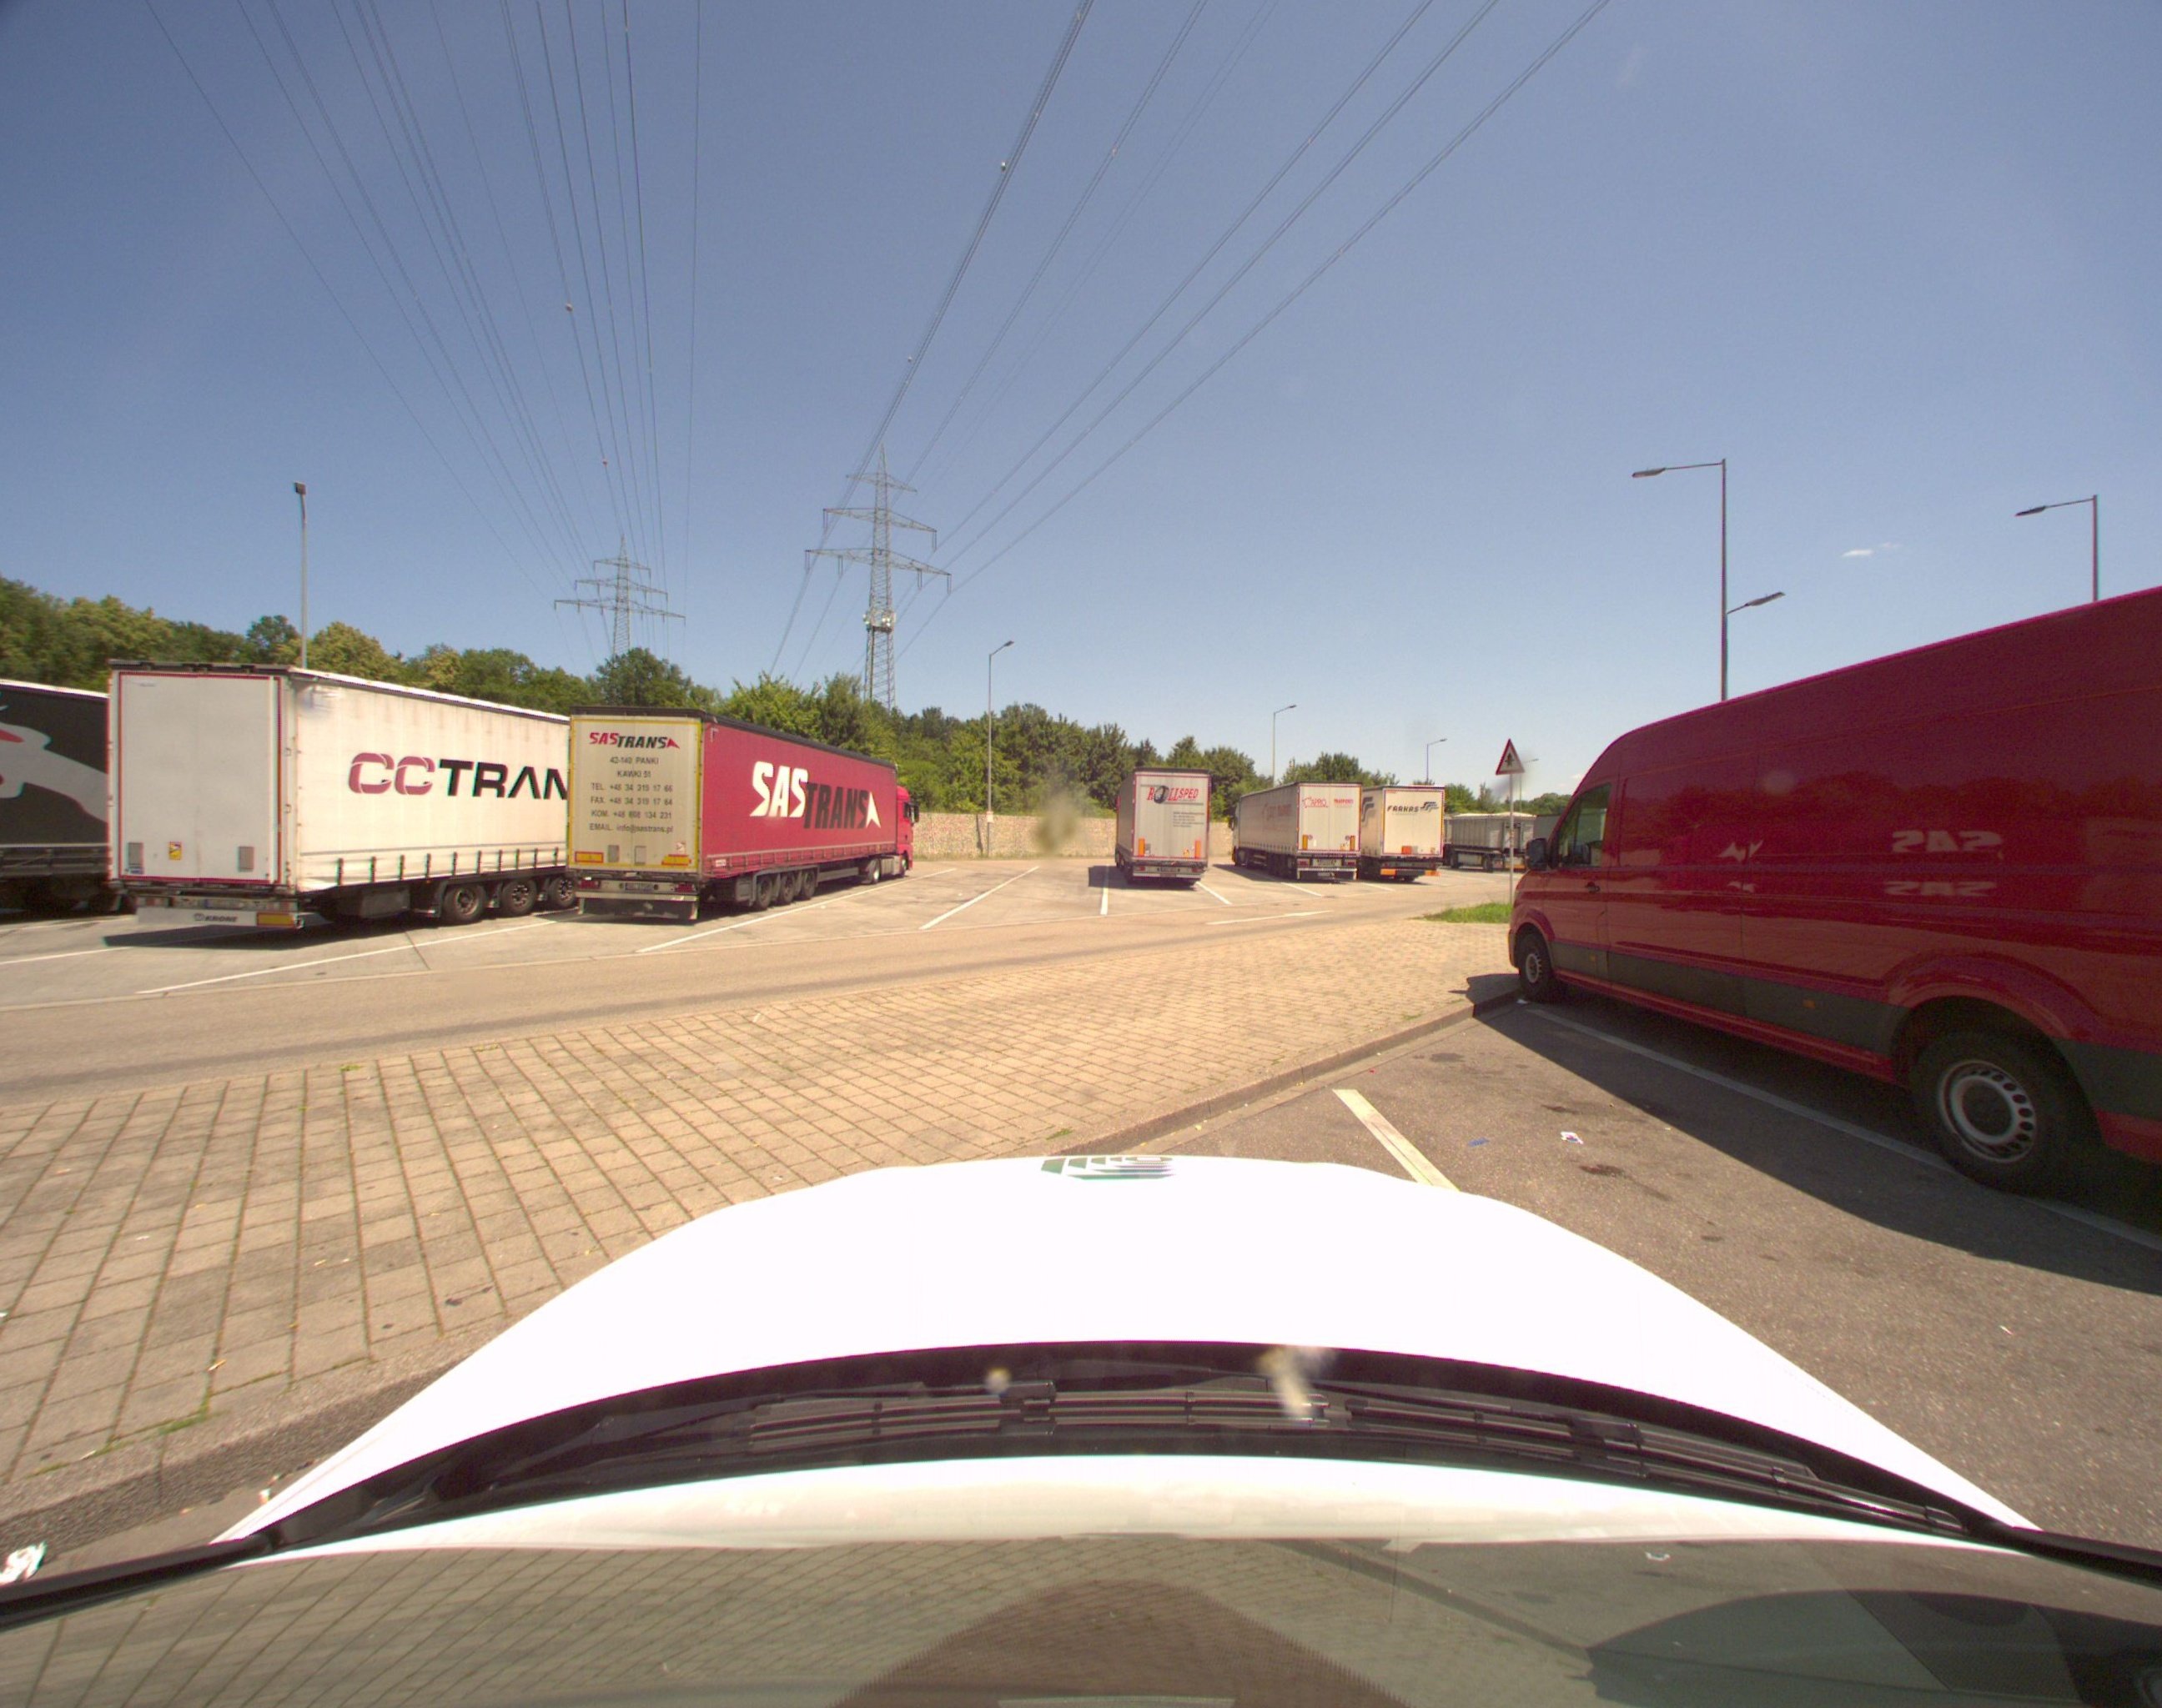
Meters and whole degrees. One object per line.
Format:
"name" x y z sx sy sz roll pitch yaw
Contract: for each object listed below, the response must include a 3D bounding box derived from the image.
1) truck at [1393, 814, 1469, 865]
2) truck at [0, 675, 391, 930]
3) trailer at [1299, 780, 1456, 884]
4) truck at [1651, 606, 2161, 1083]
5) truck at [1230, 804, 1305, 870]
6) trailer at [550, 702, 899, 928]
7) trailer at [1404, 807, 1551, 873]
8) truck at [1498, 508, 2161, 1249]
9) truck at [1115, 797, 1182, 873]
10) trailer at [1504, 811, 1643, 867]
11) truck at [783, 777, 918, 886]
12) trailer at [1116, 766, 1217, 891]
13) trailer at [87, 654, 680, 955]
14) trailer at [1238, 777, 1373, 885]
"truck" 24.624 -1.072 57.579 2.855 3.362 5.977 1 2 2
"truck" -18.548 -0.937 15.810 2.696 4.070 8.694 1 2 2
"trailer" 13.608 -1.087 39.207 2.847 4.109 13.770 1 2 2
"truck" 8.004 -0.066 6.868 2.406 2.906 6.466 -1 0 6
"truck" 10.177 -0.970 45.046 2.855 3.362 5.977 1 2 2
"trailer" -8.046 -0.924 21.708 2.811 4.070 13.770 1 2 2
"trailer" 24.439 -0.984 51.482 2.847 3.599 13.770 1 2 2
"truck" 5.144 0.084 5.435 2.001 2.651 6.466 -1 0 6
"truck" 3.139 -0.933 39.393 2.855 3.362 5.977 1 2 2
"trailer" 38.218 -1.283 64.165 2.847 3.904 13.770 1 2 2
"truck" -7.832 -0.791 28.524 2.801 3.362 5.977 1 2 2
"trailer" 3.048 -1.043 33.191 2.848 3.971 13.767 1 2 1
"trailer" -12.160 -0.839 16.403 2.696 4.101 10.395 1 2 2
"trailer" 9.980 -1.113 38.282 2.847 4.109 13.770 1 2 2
